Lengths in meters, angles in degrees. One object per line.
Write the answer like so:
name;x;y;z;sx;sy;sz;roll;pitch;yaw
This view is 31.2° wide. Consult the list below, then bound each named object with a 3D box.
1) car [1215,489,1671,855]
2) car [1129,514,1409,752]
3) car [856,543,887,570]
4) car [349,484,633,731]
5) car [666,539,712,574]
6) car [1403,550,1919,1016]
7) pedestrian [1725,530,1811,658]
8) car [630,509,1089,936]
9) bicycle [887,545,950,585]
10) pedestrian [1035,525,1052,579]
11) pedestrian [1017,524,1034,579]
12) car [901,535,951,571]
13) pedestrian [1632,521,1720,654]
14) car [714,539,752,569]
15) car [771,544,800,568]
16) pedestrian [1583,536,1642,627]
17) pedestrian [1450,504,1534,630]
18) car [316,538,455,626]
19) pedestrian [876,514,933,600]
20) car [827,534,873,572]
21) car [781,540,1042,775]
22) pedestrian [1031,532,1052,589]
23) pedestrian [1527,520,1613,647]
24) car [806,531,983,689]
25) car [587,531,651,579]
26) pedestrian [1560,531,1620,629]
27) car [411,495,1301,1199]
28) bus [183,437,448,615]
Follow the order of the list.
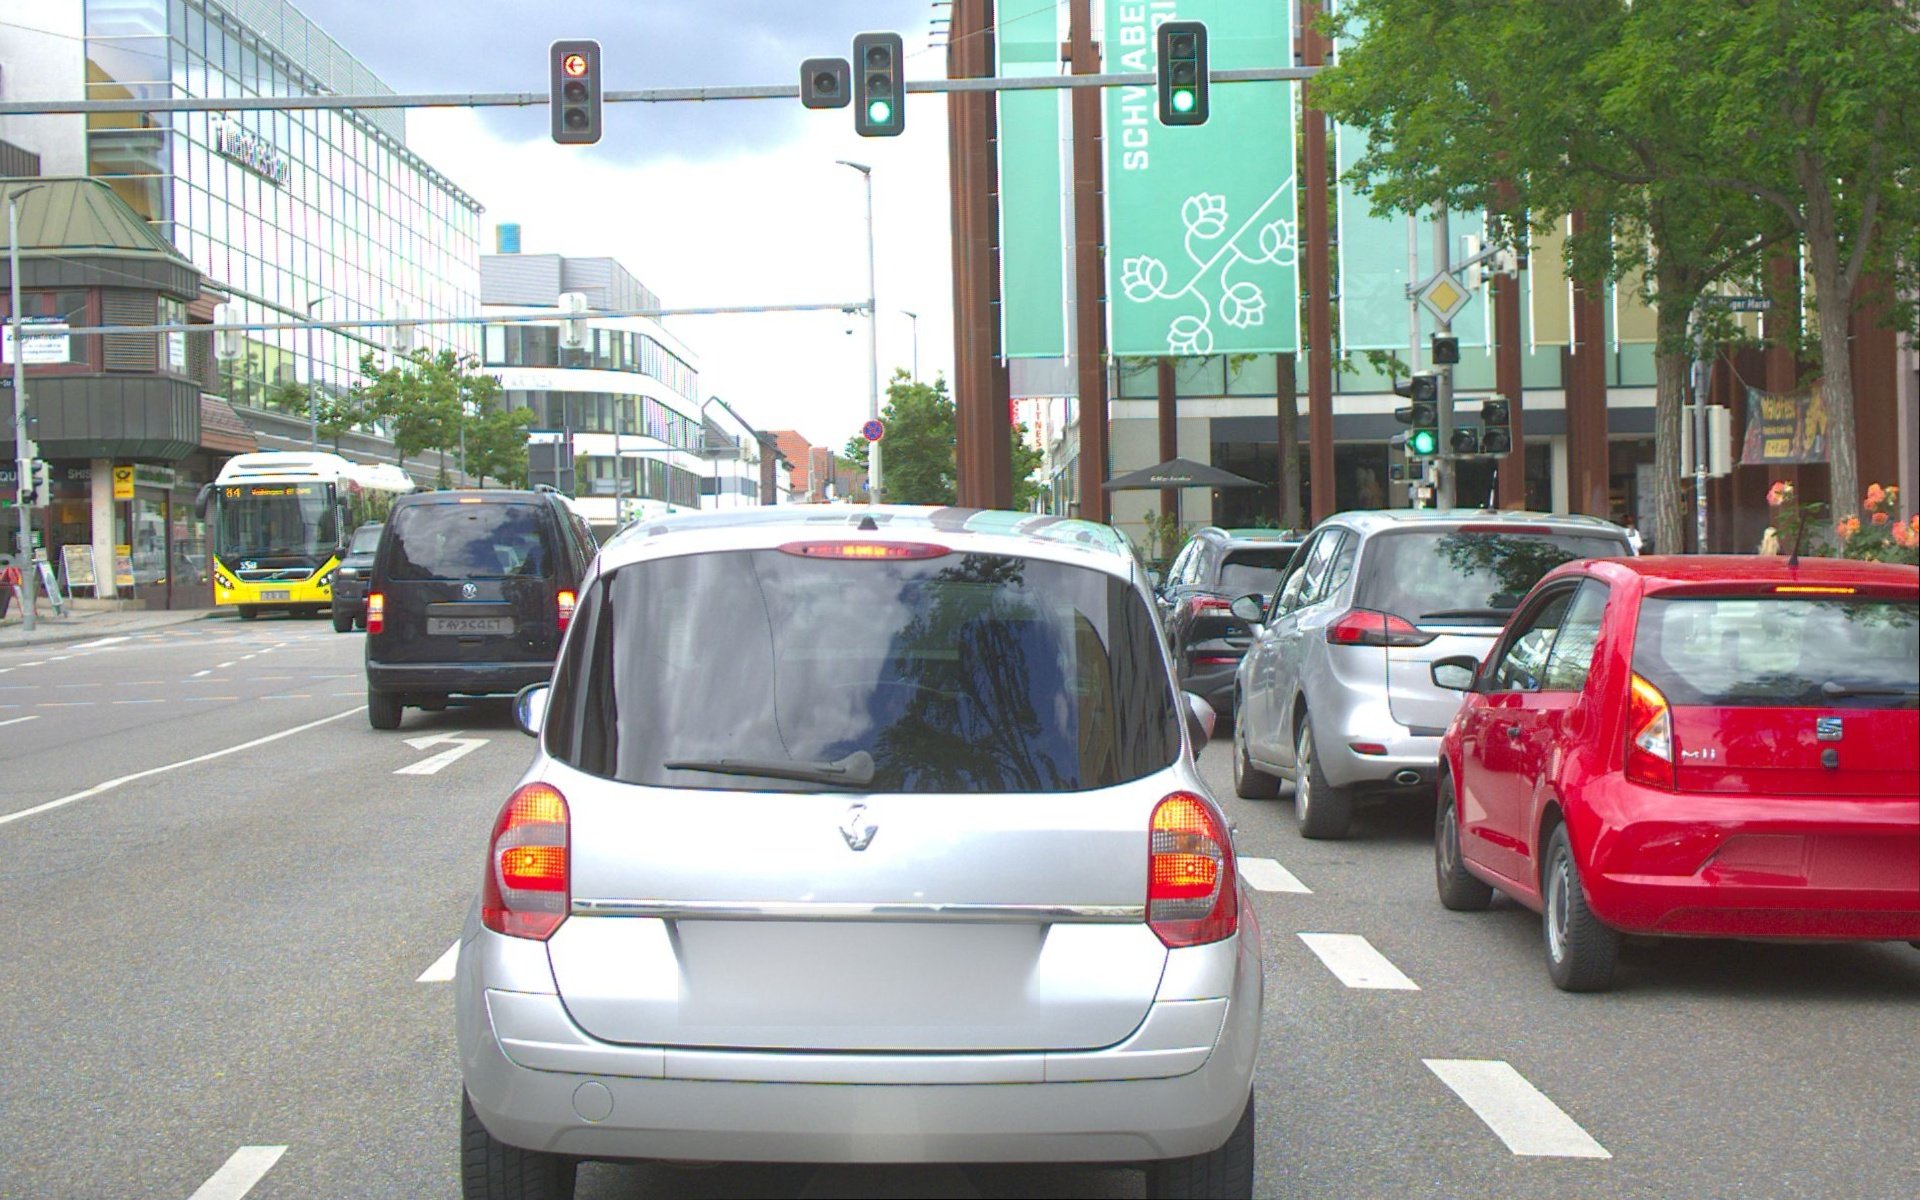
car;2.439;0.297;18.392;1.739;1.695;4.381;1;1;-1
car;2.355;0.196;27.180;1.739;1.695;4.381;1;1;-1
car;-4.989;-2.474;194.561;1.660;1.460;4.000;-2;1;0
car;-3.720;0.011;27.970;1.707;1.814;4.572;1;1;-1
car;-11.808;-1.902;149.762;1.660;1.460;4.000;-2;1;0
car;2.722;0.559;12.741;1.626;1.443;3.642;1;1;-1
pedestrian;11.357;-0.096;48.354;0.878;1.761;1.120;-1;1;-3
car;-0.394;0.418;14.528;1.669;1.549;3.642;1;1;-1
bicycle;-1.053;-0.903;88.082;1.561;0.989;0.752;-1;1;3
pedestrian;2.372;-1.366;97.735;0.427;1.544;0.481;-1;1;-2
pedestrian;1.855;-1.373;97.635;0.427;1.544;0.481;-1;1;-2
car;-1.293;-1.836;132.362;1.877;1.330;4.000;1;1;0
pedestrian;9.717;-0.177;46.702;0.878;1.761;1.120;-1;1;-3
car;-11.680;-2.375;176.852;1.660;1.460;4.000;-2;1;0
car;-11.191;-2.819;220.494;1.660;1.460;4.000;-2;1;0
pedestrian;11.541;-0.328;60.823;0.821;1.589;1.039;-1;1;-1
pedestrian;7.176;-0.450;46.424;0.878;1.675;1.120;-1;1;-3
car;-10.039;-0.332;60.319;1.759;1.443;4.036;-1;1;0
pedestrian;-1.077;-0.834;66.664;0.871;1.641;0.679;0;2;34
car;-4.402;-1.905;137.961;1.660;1.460;4.000;-2;1;0
car;-0.337;0.342;24.190;1.669;1.490;3.642;1;1;-1
pedestrian;1.767;-0.857;74.406;0.447;1.216;0.606;-1;1;2
pedestrian;8.215;-0.229;46.360;0.878;1.675;1.120;-1;1;-3
car;-0.649;0.060;34.713;1.669;1.490;3.642;1;1;-1
car;-11.031;-1.474;111.428;1.660;1.460;4.000;-2;1;0
pedestrian;10.632;-0.341;58.037;0.741;1.620;0.954;-1;1;-4
car;-0.220;0.553;8.357;1.669;1.549;3.642;1;1;-1
bus;-13.584;-1.600;73.711;2.987;3.316;12.306;-3;1;1
